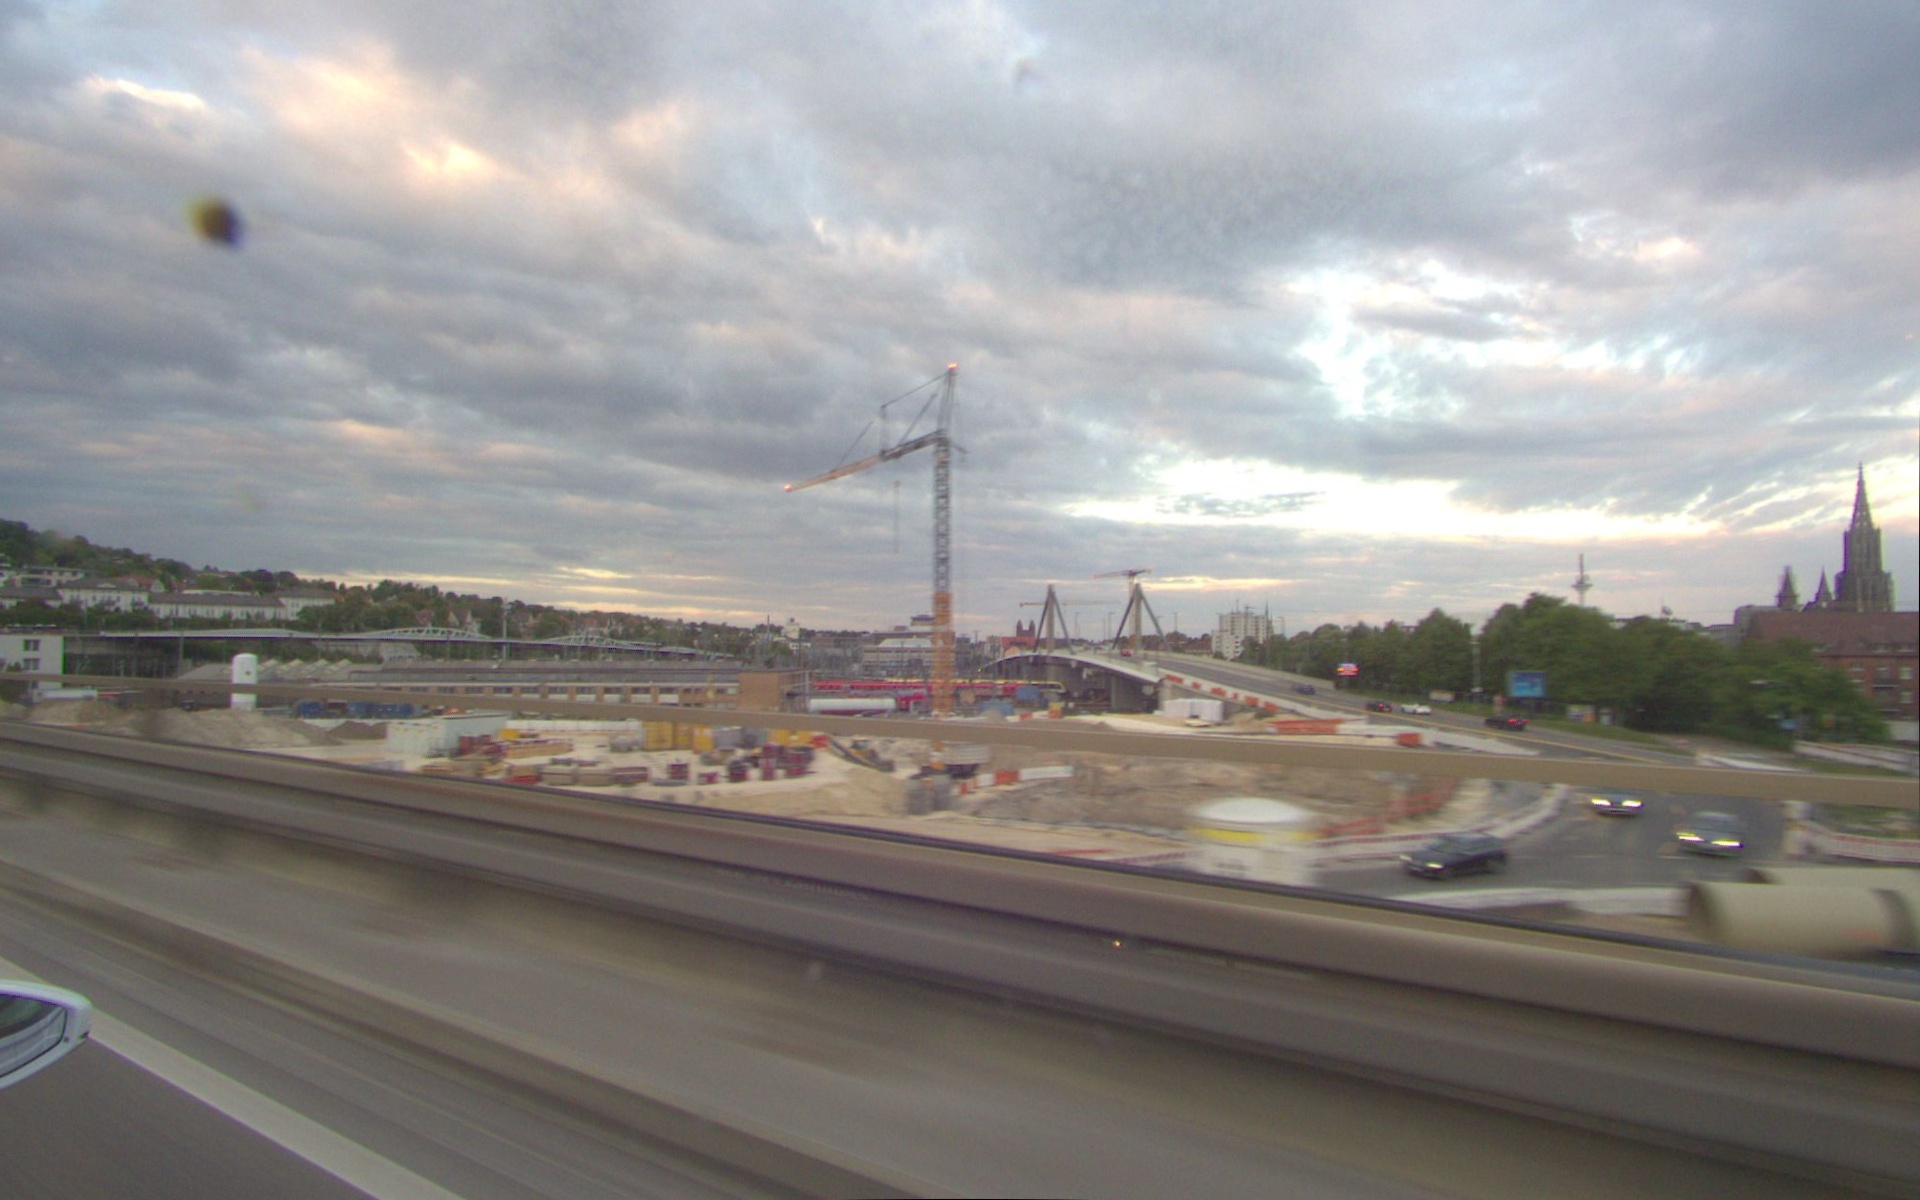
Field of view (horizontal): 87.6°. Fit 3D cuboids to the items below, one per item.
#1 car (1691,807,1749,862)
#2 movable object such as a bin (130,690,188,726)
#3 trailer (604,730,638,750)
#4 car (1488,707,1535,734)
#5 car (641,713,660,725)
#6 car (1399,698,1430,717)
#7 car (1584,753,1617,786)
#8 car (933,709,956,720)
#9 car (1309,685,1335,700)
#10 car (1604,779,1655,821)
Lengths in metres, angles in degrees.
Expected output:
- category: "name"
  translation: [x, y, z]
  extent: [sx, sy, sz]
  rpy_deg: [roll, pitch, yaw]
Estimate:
- category: "car"
  translation: [34.680, 10.626, 45.663]
  extent: [1.784, 1.741, 4.069]
  rpy_deg: [-4, -4, 41]
- category: "movable object such as a bin"
  translation: [-105.954, 14.352, 132.552]
  extent: [2.732, 4.356, 4.966]
  rpy_deg: [1, -8, 14]
- category: "trailer"
  translation: [-28.480, 11.729, 84.040]
  extent: [1.761, 1.256, 4.228]
  rpy_deg: [3, -4, -33]
- category: "car"
  translation: [54.237, 11.834, 98.566]
  extent: [1.962, 2.039, 3.999]
  rpy_deg: [5, -1, -6]
- category: "car"
  translation: [-48.968, 18.853, 158.616]
  extent: [1.835, 1.733, 4.009]
  rpy_deg: [4, -8, -3]
- category: "car"
  translation: [52.341, 12.378, 115.351]
  extent: [1.565, 1.760, 3.706]
  rpy_deg: [5, -2, -6]
- category: "car"
  translation: [41.941, 11.093, 65.552]
  extent: [1.627, 1.639, 3.746]
  rpy_deg: [-1, -3, 35]
- category: "car"
  translation: [-2.659, 19.940, 174.155]
  extent: [3.619, 1.593, 1.440]
  rpy_deg: [5, -7, -12]
- category: "car"
  translation: [51.642, 13.214, 142.795]
  extent: [1.744, 1.760, 4.000]
  rpy_deg: [5, -2, -6]
- category: "car"
  translation: [36.329, 10.812, 54.304]
  extent: [1.629, 1.760, 3.762]
  rpy_deg: [-2, -5, 45]
